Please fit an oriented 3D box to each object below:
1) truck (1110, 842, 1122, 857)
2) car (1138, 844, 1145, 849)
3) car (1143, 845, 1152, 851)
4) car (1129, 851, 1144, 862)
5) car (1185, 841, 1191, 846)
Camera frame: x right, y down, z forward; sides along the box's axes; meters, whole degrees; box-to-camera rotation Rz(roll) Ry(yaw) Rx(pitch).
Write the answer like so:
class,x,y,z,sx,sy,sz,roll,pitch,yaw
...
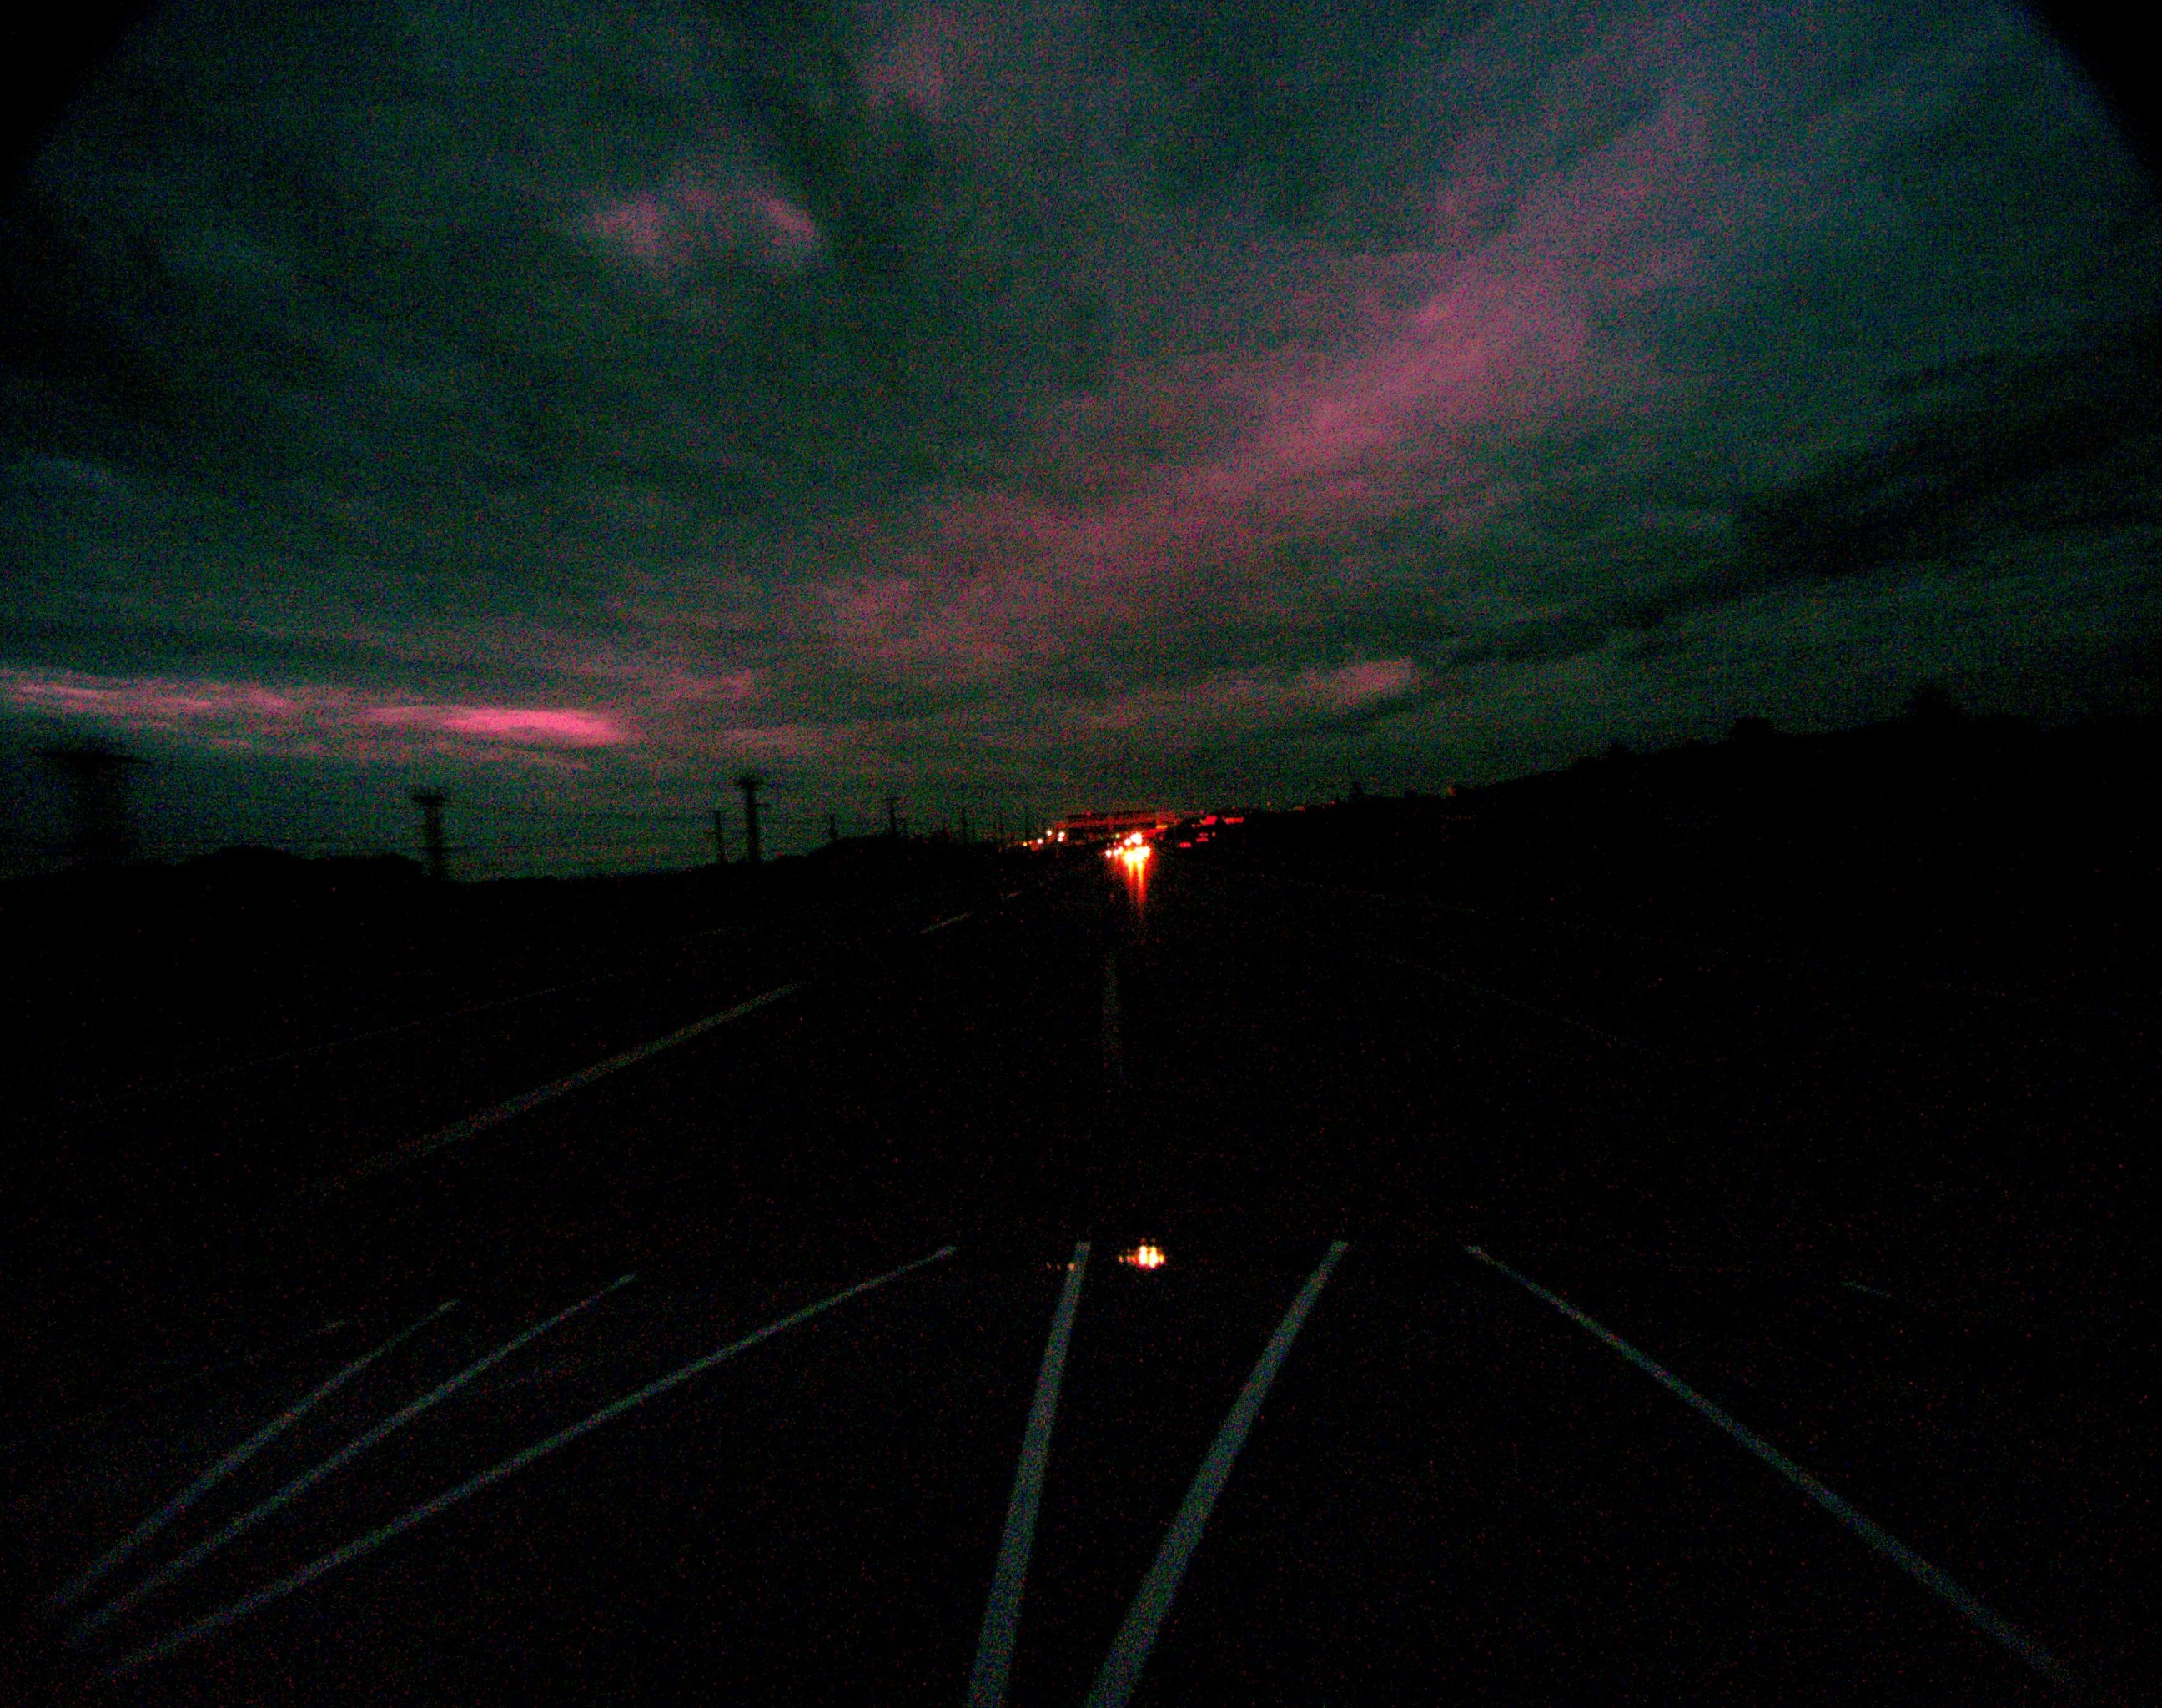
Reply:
class,x,y,z,sx,sy,sz,roll,pitch,yaw
truck,10.010,-1.336,215.154,3.059,4.047,10.524,-2,0,5
car,18.396,-2.365,231.029,1.998,1.342,4.176,-5,1,5
car,17.657,-1.627,201.877,1.998,1.342,4.175,-5,1,3
car,7.352,0.319,101.315,1.998,1.342,4.176,0,1,4
car,36.035,-3.641,255.250,1.693,1.393,4.429,-6,2,5
